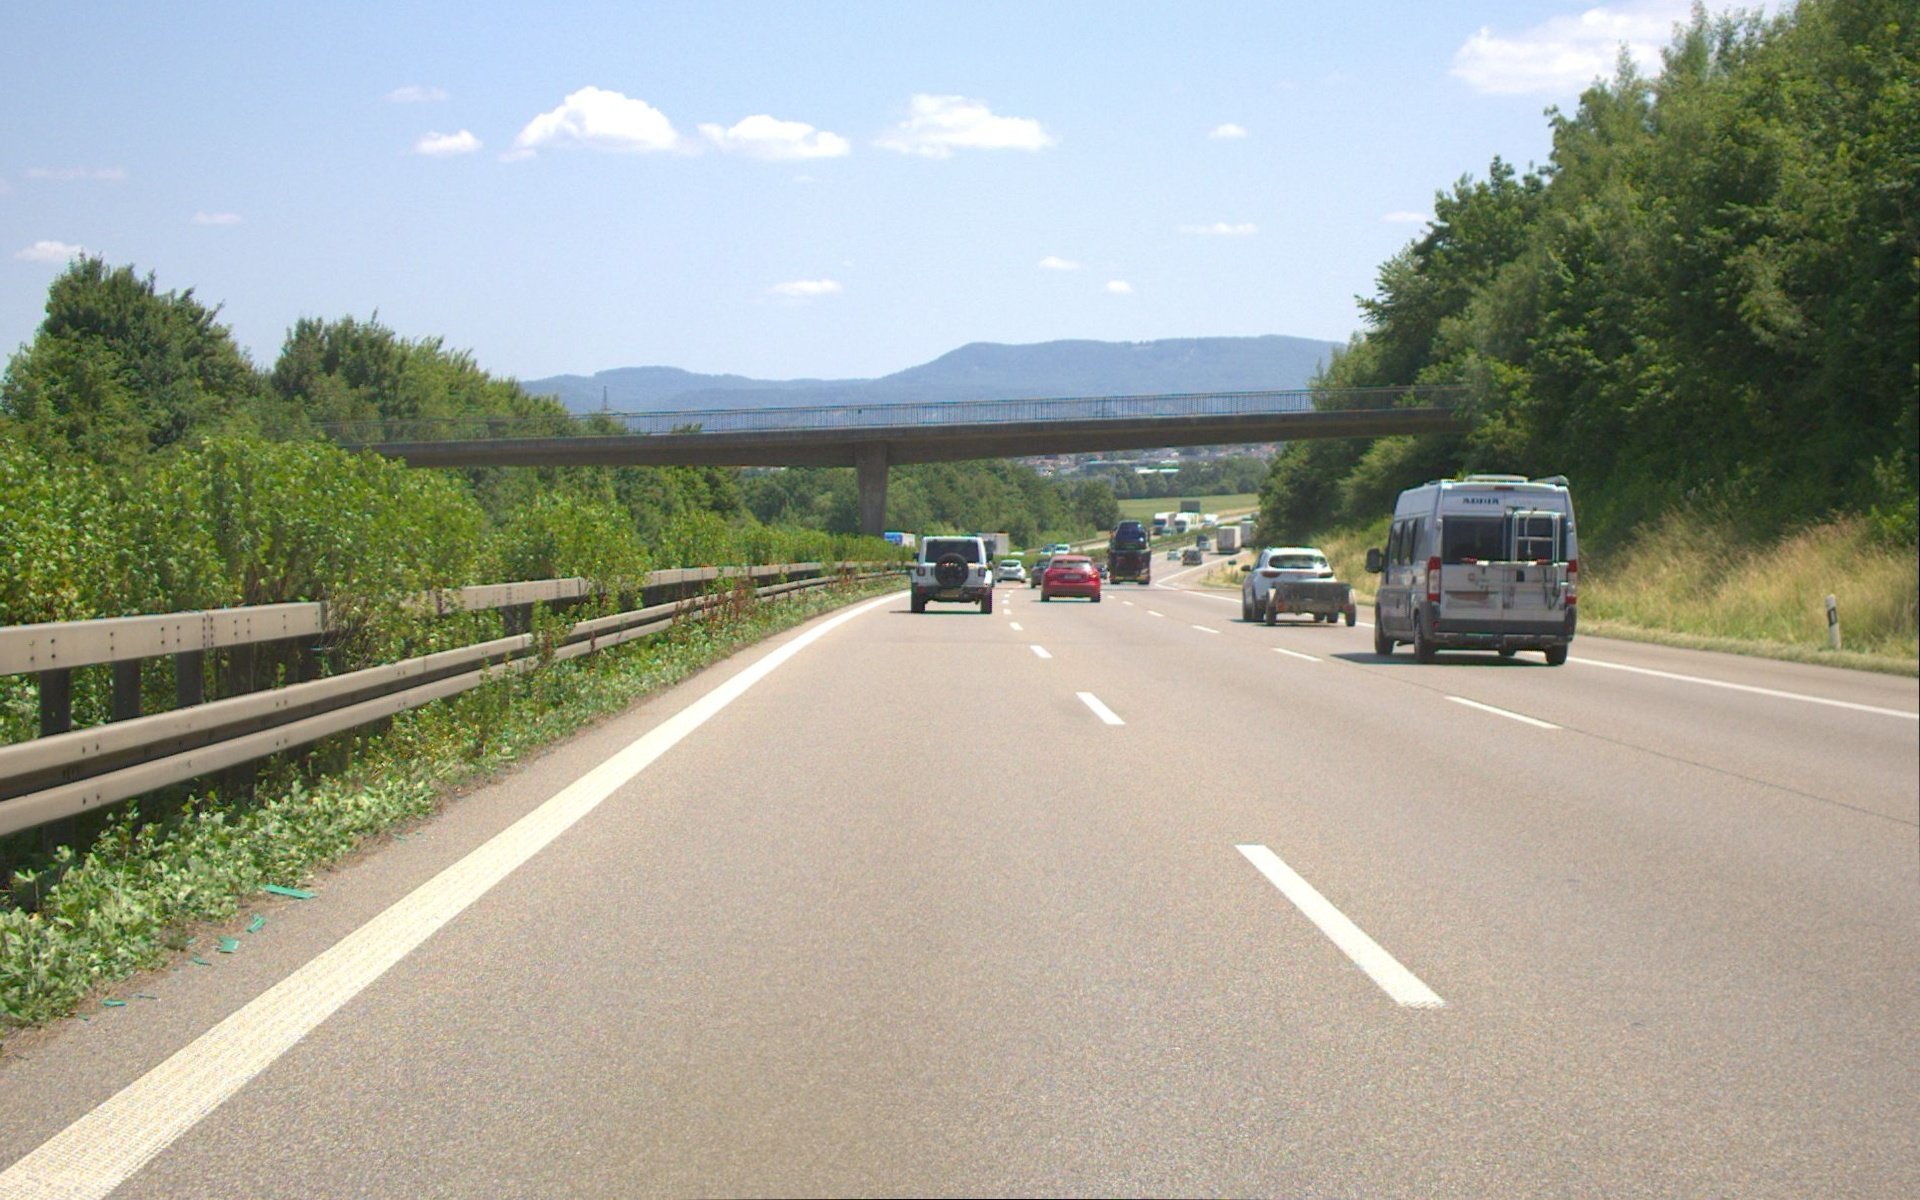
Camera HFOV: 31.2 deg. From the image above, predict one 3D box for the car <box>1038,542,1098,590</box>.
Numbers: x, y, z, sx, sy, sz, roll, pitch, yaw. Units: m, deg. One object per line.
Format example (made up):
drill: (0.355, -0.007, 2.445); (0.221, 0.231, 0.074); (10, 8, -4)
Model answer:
car: (3.307, -1.057, 105.827); (1.686, 1.374, 3.949); (1, 2, 0)

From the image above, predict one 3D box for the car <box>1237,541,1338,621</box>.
car: (7.291, -0.444, 76.869); (1.781, 1.645, 4.403); (1, 2, 0)

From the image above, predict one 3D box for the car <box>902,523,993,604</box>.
car: (-0.272, -0.905, 83.105); (2.083, 1.823, 4.754); (1, 2, 1)

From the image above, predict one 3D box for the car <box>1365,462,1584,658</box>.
car: (7.205, -0.637, 48.821); (2.089, 2.567, 6.622); (1, 2, 0)

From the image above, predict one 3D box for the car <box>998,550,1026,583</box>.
car: (3.256, -2.129, 217.434); (1.698, 2.006, 3.822); (1, 2, 0)

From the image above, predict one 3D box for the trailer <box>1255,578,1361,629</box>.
trailer: (7.298, 0.057, 72.497); (1.754, 0.905, 4.320); (1, 2, 0)

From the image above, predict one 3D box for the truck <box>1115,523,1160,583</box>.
truck: (11.866, -3.167, 229.299); (2.754, 3.839, 6.644); (1, 2, 4)

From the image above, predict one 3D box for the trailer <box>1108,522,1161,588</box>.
trailer: (11.317, -2.975, 221.620); (2.855, 3.979, 15.395); (1, 2, 5)
